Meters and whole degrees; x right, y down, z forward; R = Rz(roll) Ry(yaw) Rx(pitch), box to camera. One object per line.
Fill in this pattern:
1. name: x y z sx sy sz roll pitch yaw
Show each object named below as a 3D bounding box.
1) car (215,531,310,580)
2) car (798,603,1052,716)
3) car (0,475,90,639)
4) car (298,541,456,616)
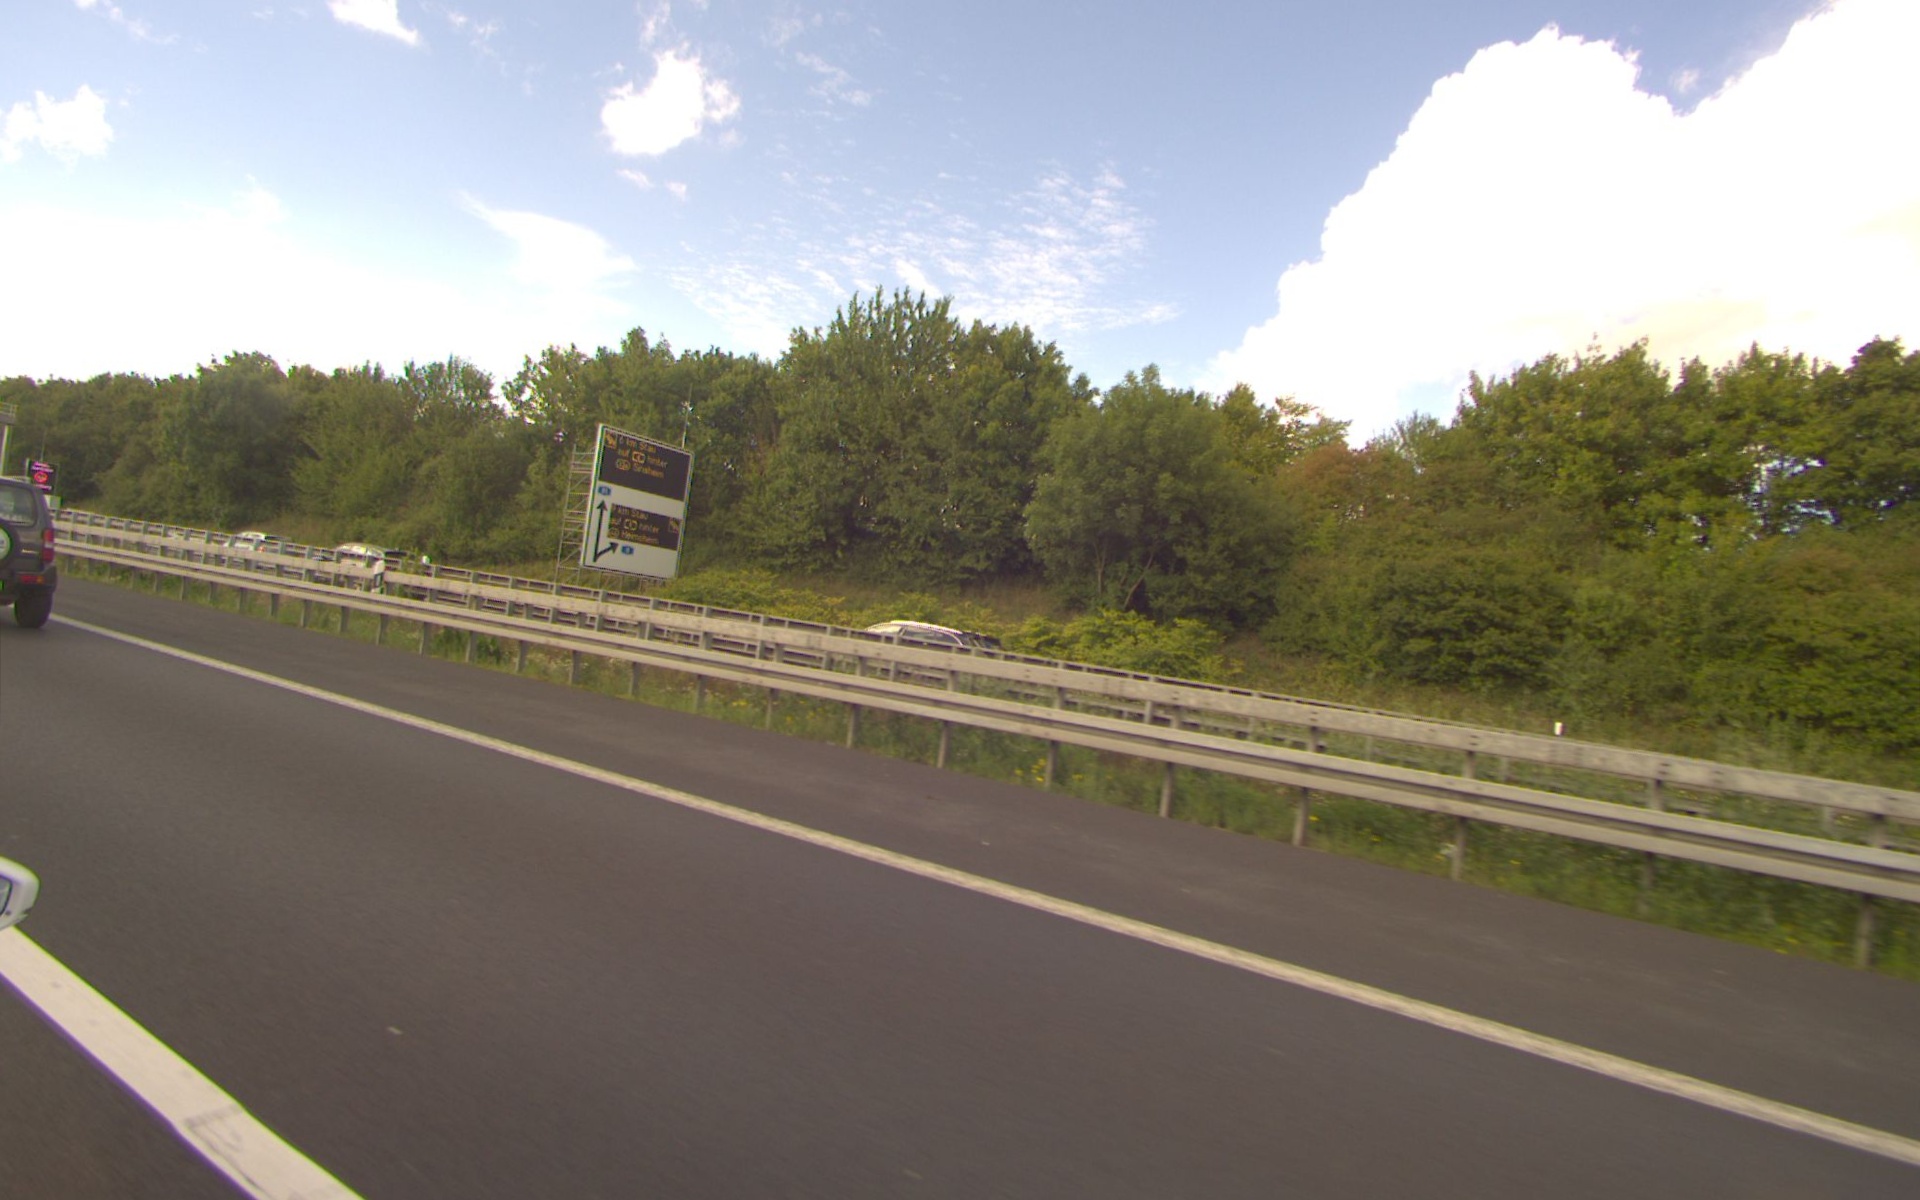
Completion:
1. car: -31.404 -2.011 45.288 3.934 1.729 1.997 6 -1 32
2. car: -0.677 1.109 18.894 4.238 1.501 1.998 6 -2 31
3. car: -12.386 -0.695 12.108 4.138 1.752 1.669 6 -2 33
4. car: -16.119 -0.611 27.794 3.933 1.501 1.998 6 -2 31
